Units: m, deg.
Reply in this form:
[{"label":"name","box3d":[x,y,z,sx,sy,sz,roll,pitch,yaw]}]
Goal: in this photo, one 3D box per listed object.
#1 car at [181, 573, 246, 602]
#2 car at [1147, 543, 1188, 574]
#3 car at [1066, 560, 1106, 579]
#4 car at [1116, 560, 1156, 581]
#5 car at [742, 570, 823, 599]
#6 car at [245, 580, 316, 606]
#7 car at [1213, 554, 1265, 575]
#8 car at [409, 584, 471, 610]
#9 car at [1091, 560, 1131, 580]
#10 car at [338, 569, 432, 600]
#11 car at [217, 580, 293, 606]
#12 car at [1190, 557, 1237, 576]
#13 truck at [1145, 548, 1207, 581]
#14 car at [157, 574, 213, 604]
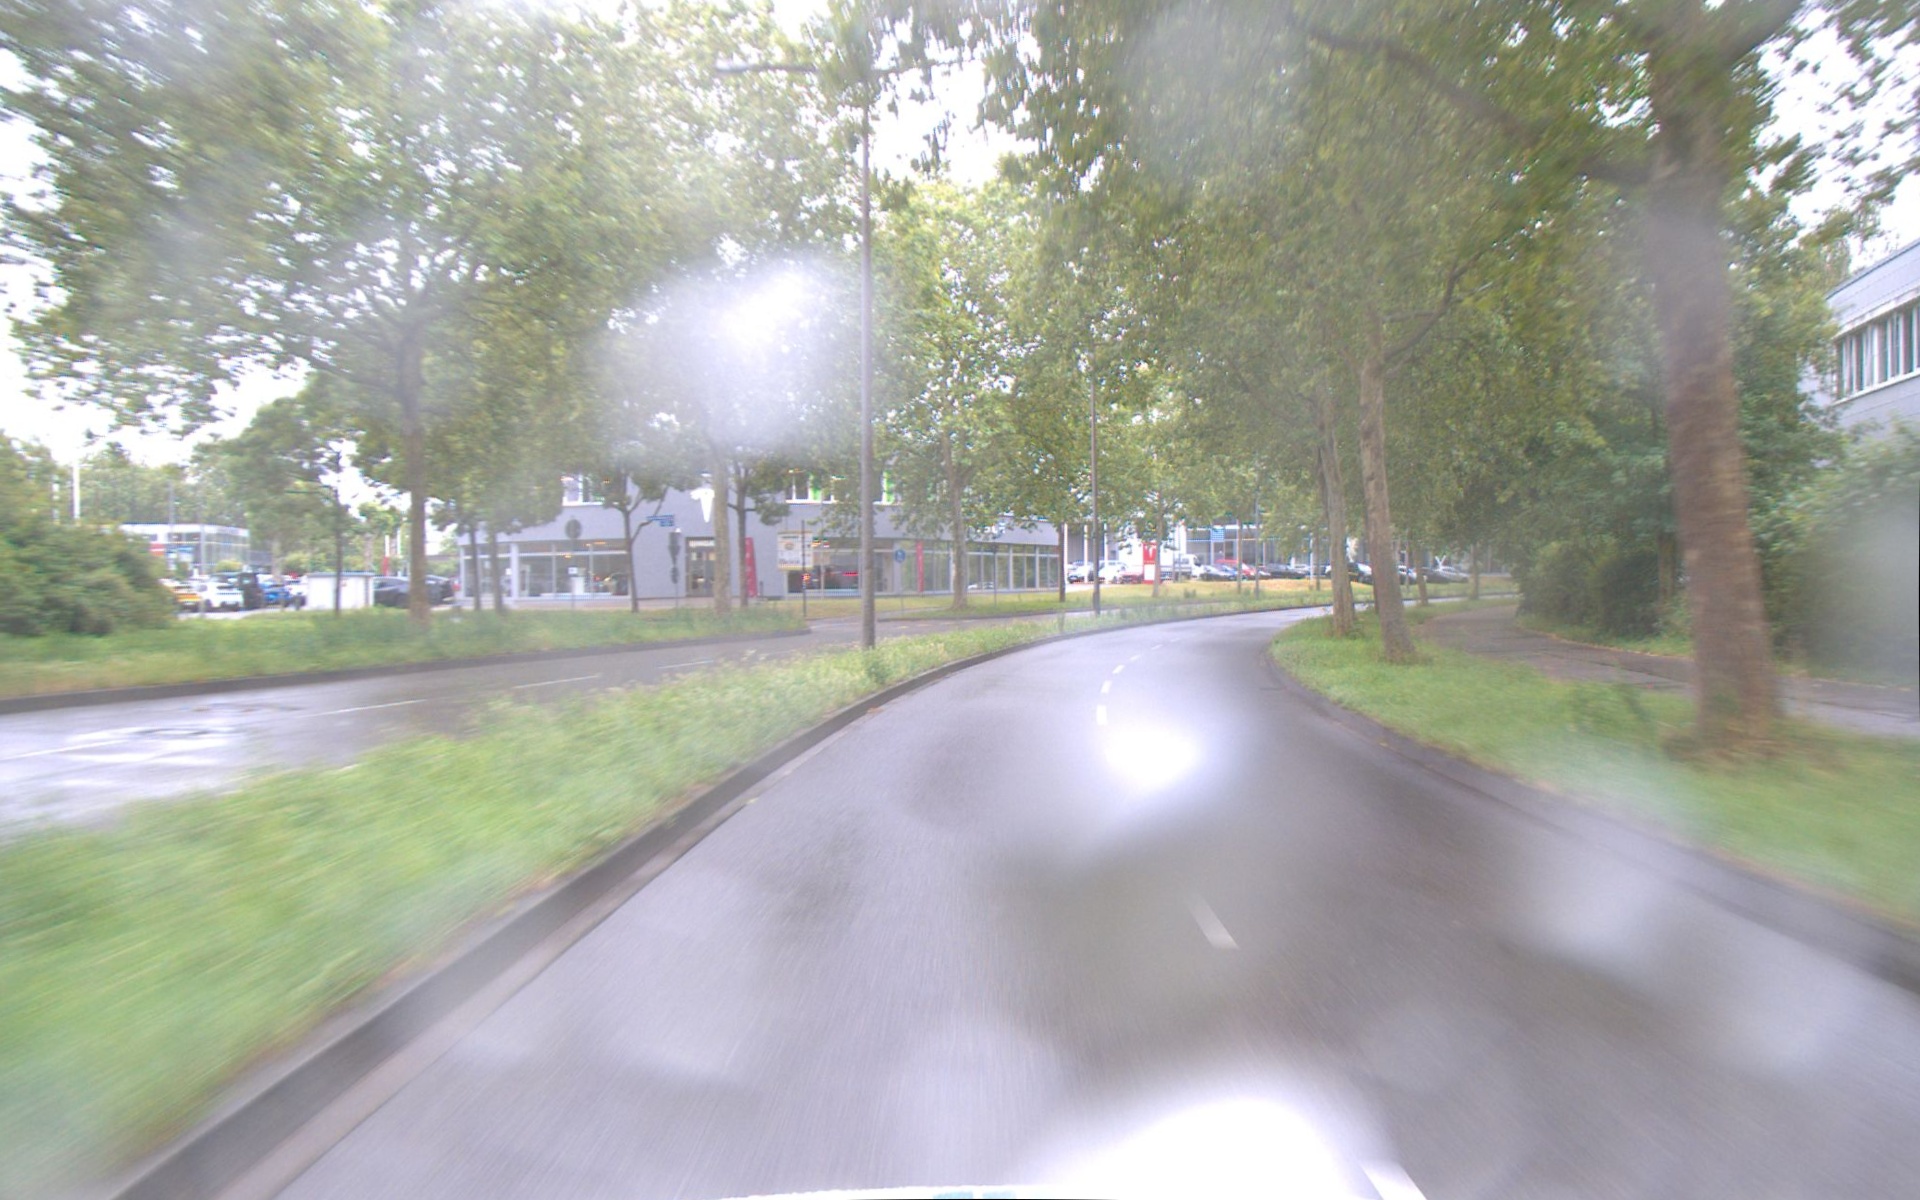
[{"label":"car","box3d":[-39.469,-0.666,87.409,4.130,1.520,1.588,1,1,42]},{"label":"car","box3d":[19.096,-3.855,152.588,2.126,2.799,5.324,0,2,-12]},{"label":"car","box3d":[10.602,-2.545,138.846,1.730,1.421,4.151,2,4,29]},{"label":"car","box3d":[14.445,-2.436,135.536,1.730,1.492,4.151,2,4,29]},{"label":"car","box3d":[-9.376,-0.813,87.182,4.112,1.520,1.595,0,1,30]},{"label":"car","box3d":[-41.700,-0.440,101.502,3.683,1.520,1.598,0,1,0]},{"label":"car","box3d":[23.836,-3.054,141.474,3.930,1.583,1.841,4,5,36]},{"label":"car","box3d":[-31.249,-0.209,99.470,3.238,1.520,1.598,0,1,0]},{"label":"car","box3d":[12.594,-2.500,137.668,1.730,1.421,4.151,2,4,29]},{"label":"car","box3d":[-28.531,-0.765,82.165,4.105,1.520,1.598,0,1,0]},{"label":"car","box3d":[-40.768,-0.416,95.627,3.683,1.520,1.598,0,1,0]},{"label":"car","box3d":[21.040,-2.778,137.330,3.465,1.349,1.762,4,5,36]},{"label":"truck","box3d":[17.572,-2.882,134.167,2.210,2.384,6.171,4,5,36]},{"label":"car","box3d":[-39.948,-0.576,85.273,3.018,1.520,1.589,1,1,42]}]
